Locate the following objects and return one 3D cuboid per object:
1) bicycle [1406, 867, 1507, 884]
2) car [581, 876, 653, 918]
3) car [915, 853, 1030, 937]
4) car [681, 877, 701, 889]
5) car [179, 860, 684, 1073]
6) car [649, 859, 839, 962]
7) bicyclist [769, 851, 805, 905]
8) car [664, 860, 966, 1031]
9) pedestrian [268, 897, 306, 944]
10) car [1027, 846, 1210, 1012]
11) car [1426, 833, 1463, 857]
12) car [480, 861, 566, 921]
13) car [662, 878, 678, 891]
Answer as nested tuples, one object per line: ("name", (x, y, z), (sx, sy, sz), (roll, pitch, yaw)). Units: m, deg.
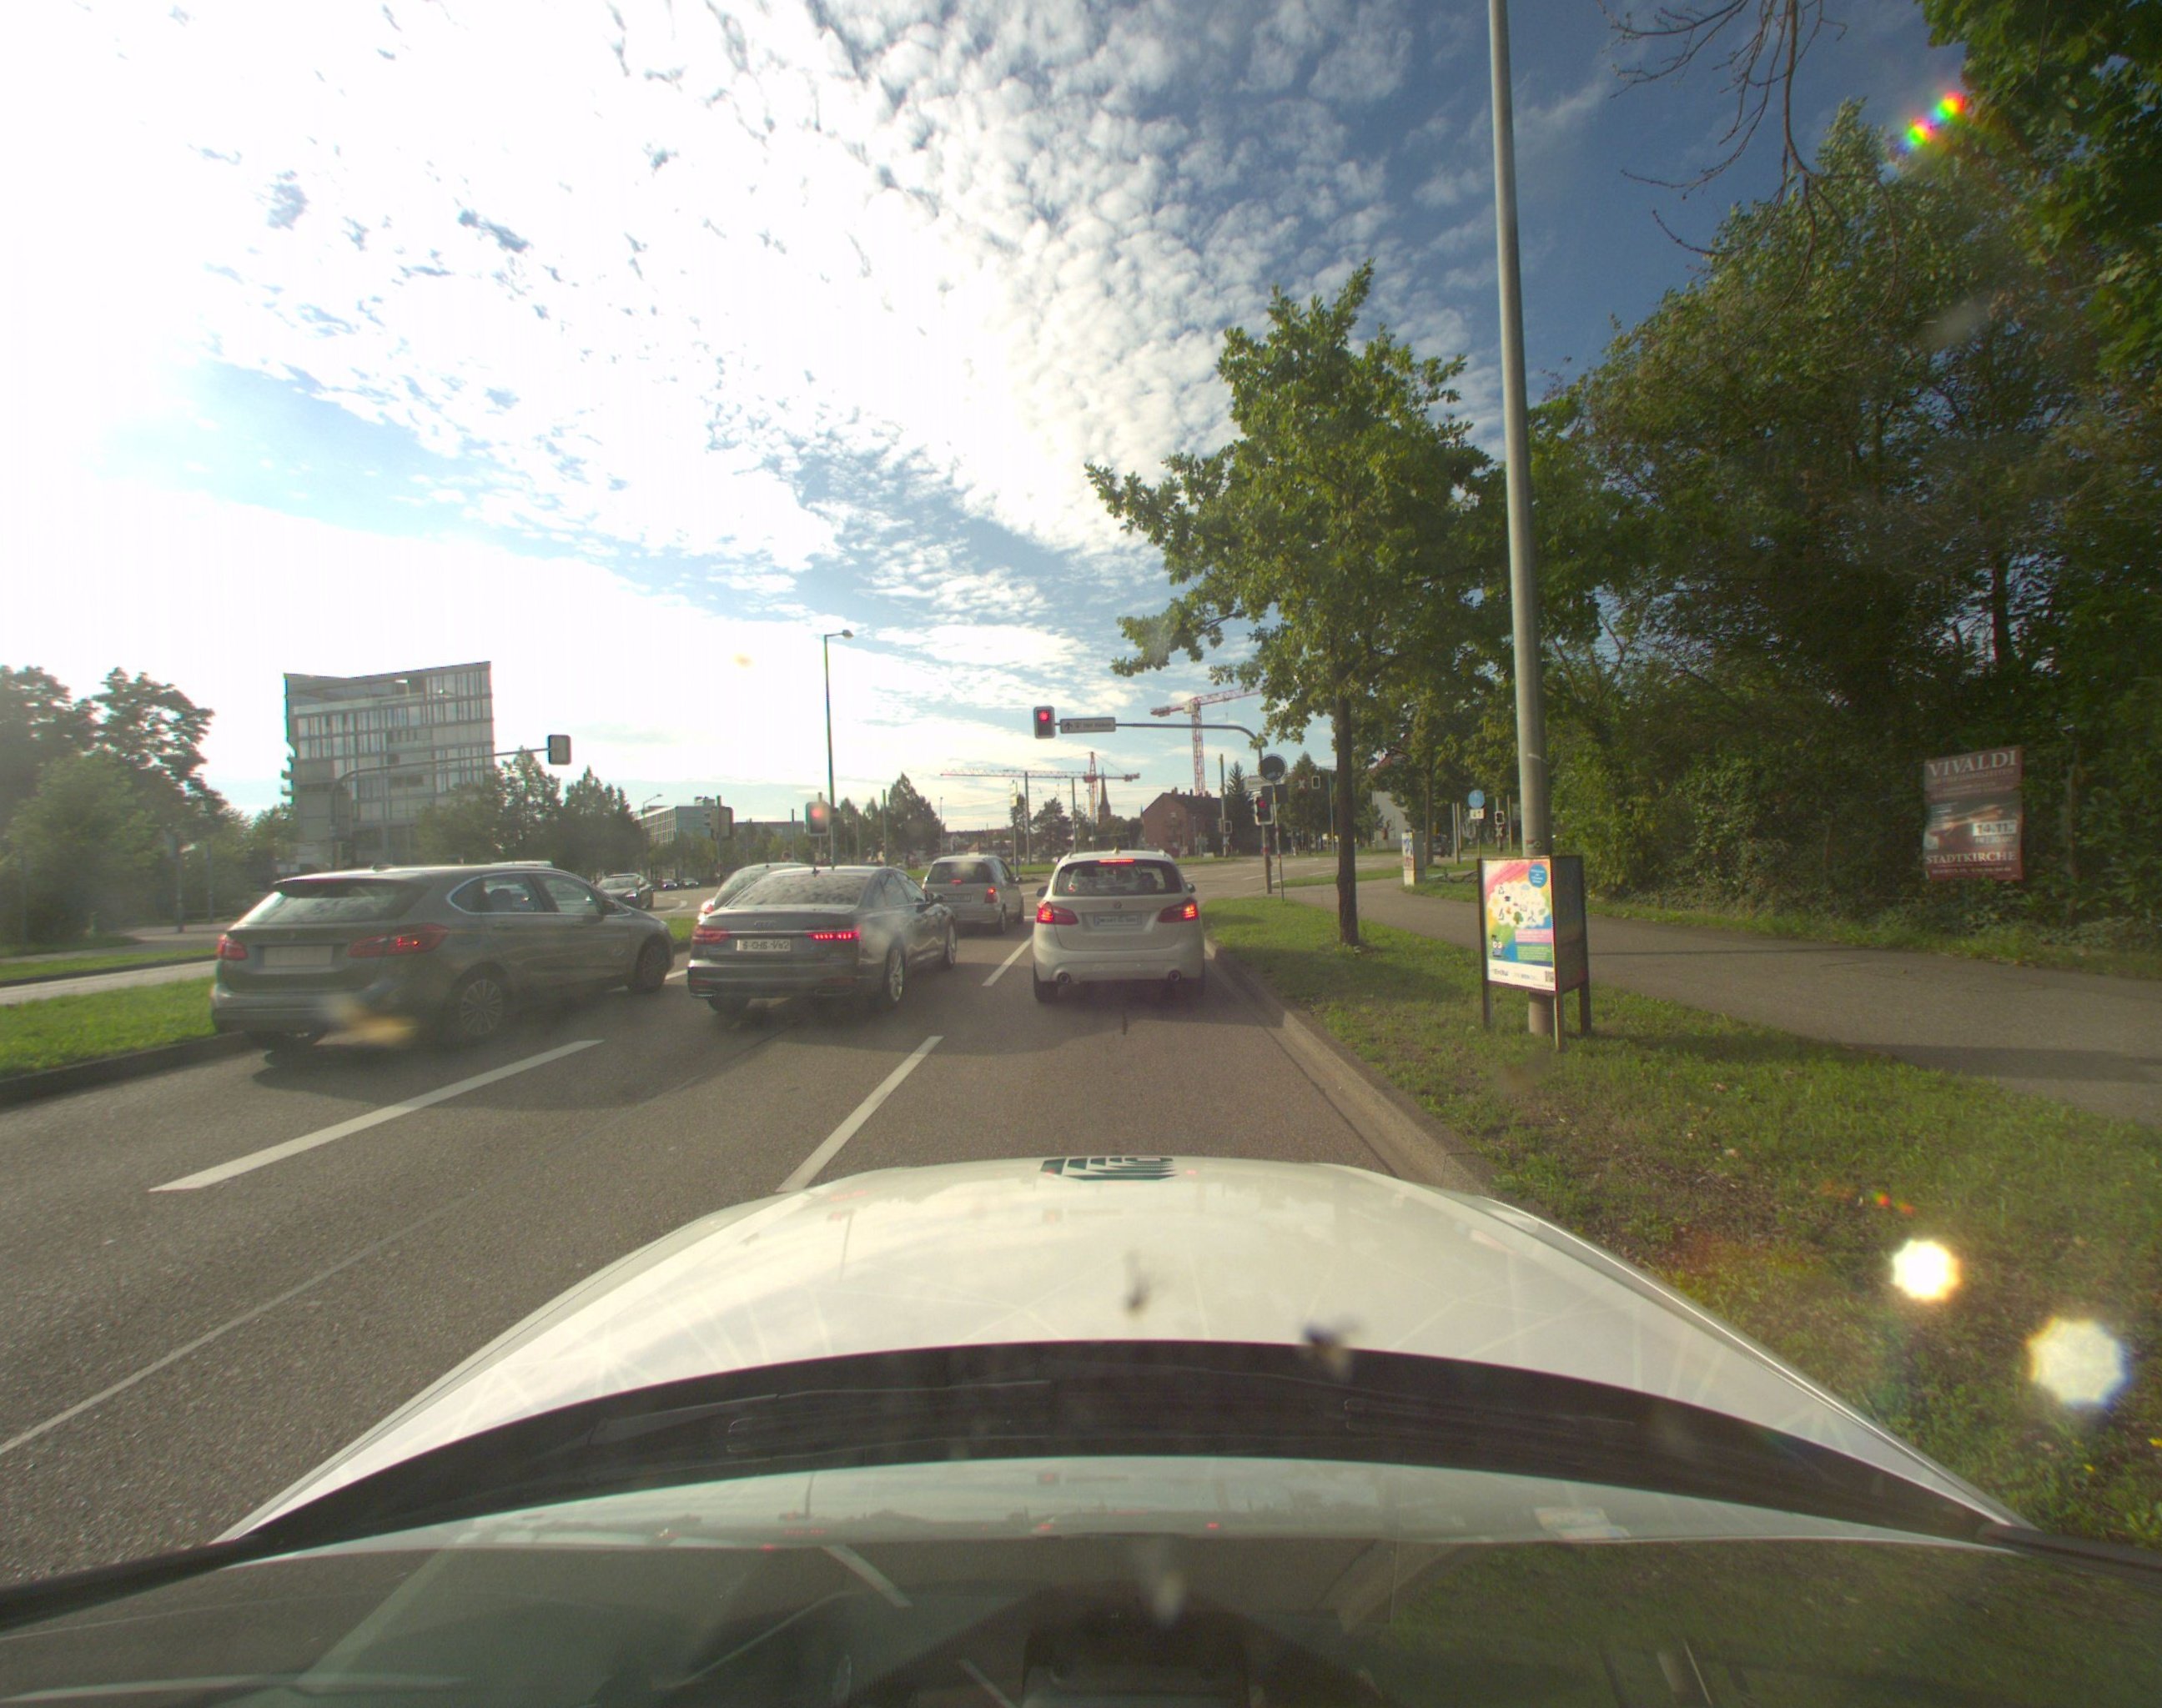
("bicycle", (10.543, 0.593, 23.000), (1.407, 0.385, 2.568), (-3, 0, -9))
("car", (-18.409, 1.693, 32.467), (1.909, 1.410, 4.174), (-4, -1, -23))
("car", (-2.182, 0.778, 17.423), (1.722, 1.558, 4.060), (-1, 0, 2))
("car", (-50.752, 3.799, 105.882), (1.628, 1.464, 3.689), (-3, 0, -37))
("car", (-5.925, 0.870, 8.201), (1.722, 1.558, 4.021), (-1, 0, 2))
("car", (-5.746, 0.879, 14.424), (1.674, 1.523, 3.811), (-1, 0, 1))
("bicyclist", (-8.694, 0.694, 24.113), (0.850, 1.526, 0.737), (-3, -1, -15))
("car", (-2.704, 0.837, 9.566), (1.883, 1.483, 4.614), (-1, -1, 2))
("pedestrian", (-27.605, 2.308, 28.331), (0.654, 1.569, 0.614), (-3, -1, -6))
("car", (0.417, 0.725, 9.856), (1.723, 1.558, 4.059), (-1, 0, 2))
("car", (25.687, -0.650, 57.515), (1.554, 1.573, 3.219), (-1, 2, 39))
("car", (-23.769, 1.544, 34.938), (2.004, 2.235, 5.874), (-4, 0, -25))
("car", (-51.002, 3.820, 101.045), (1.600, 1.415, 3.638), (-4, -2, -25))
